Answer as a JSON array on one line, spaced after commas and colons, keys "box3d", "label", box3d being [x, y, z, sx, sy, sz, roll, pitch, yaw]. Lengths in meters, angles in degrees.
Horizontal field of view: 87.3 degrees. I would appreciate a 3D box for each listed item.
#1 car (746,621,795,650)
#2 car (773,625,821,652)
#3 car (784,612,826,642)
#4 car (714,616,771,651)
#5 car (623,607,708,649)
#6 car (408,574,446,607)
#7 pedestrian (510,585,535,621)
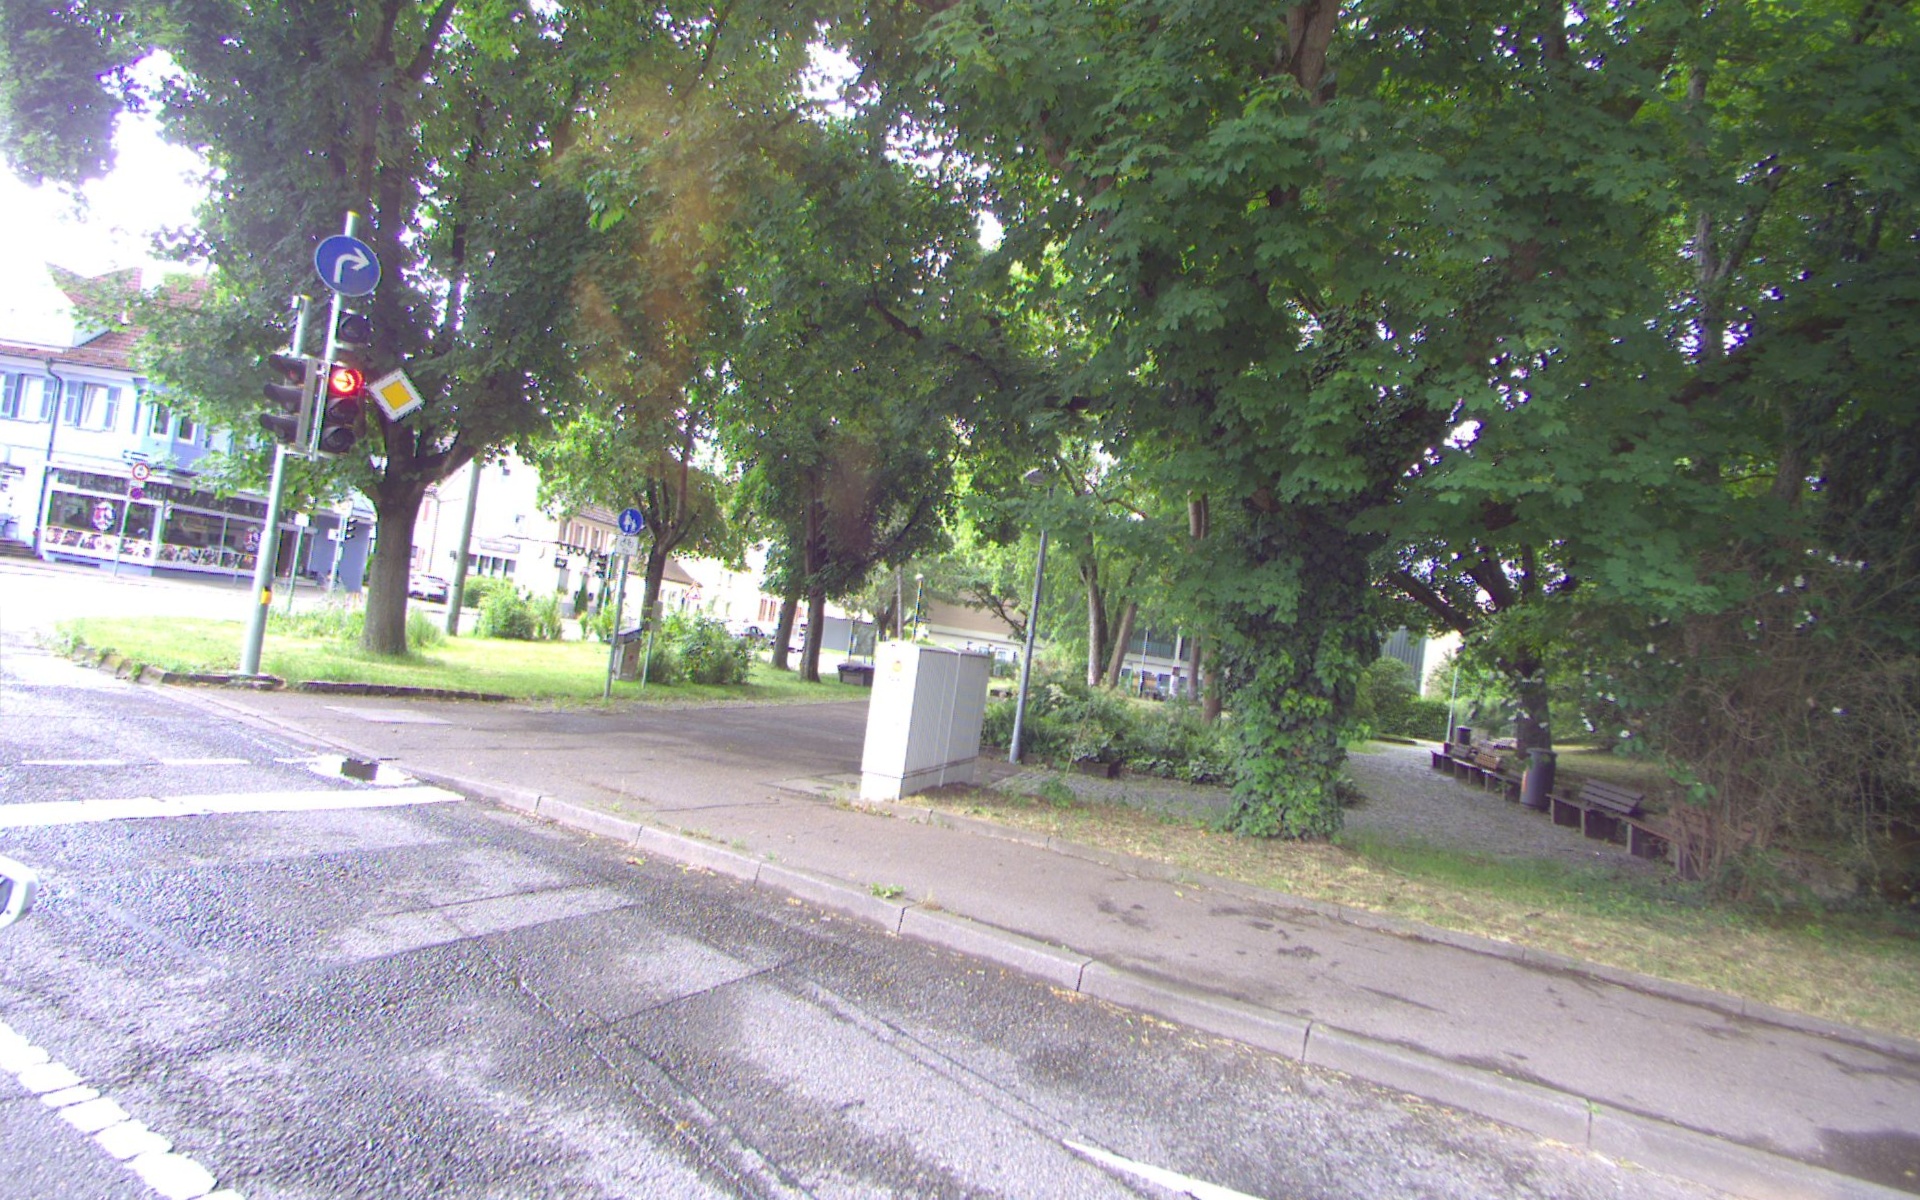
[{"box3d": [-11.303, 2.139, 60.127, 1.706, 1.406, 3.746, 7, -2, 6], "label": "car"}, {"box3d": [-10.740, 2.554, 66.437, 1.888, 1.472, 4.407, 7, -2, 6], "label": "car"}, {"box3d": [-14.981, 2.691, 97.402, 2.292, 2.419, 5.967, 7, -2, 6], "label": "car"}, {"box3d": [-11.845, 1.844, 55.002, 1.838, 1.589, 4.004, 7, -2, 4], "label": "car"}, {"box3d": [-13.069, 1.300, 44.936, 1.864, 1.472, 4.553, 7, -3, 6], "label": "car"}, {"box3d": [-28.113, -0.530, 53.128, 1.554, 1.478, 3.417, 9, -3, -27], "label": "car"}, {"box3d": [-22.170, 0.165, 50.962, 0.743, 1.716, 0.647, 7, -1, 3], "label": "pedestrian"}]
